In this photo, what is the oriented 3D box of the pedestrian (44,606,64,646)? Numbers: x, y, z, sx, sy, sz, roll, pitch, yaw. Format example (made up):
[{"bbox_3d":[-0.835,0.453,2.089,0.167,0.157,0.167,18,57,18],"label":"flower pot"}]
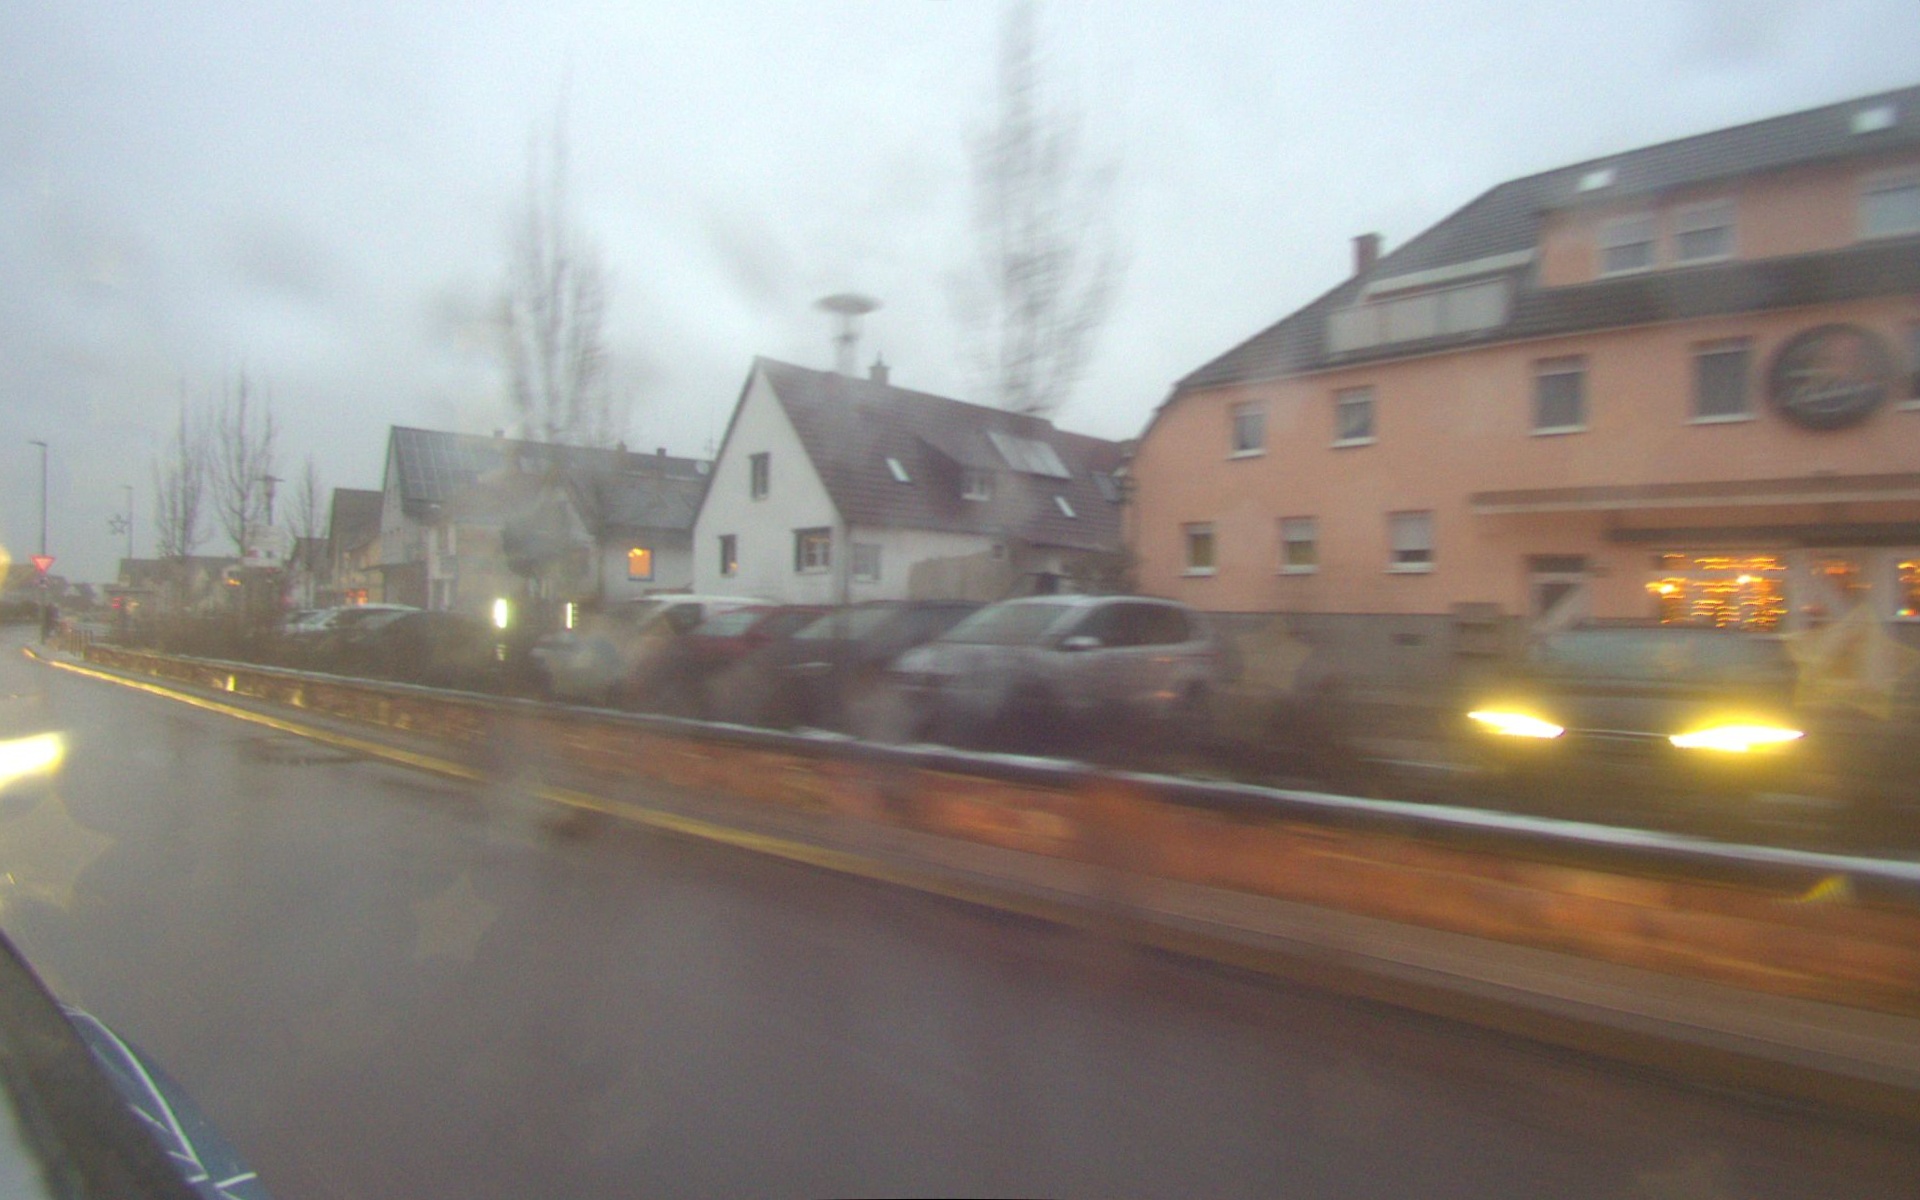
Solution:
[{"bbox_3d":[-46.234,1.312,51.642,0.547,2.047,0.657,-2,-2,39],"label":"pedestrian"}]

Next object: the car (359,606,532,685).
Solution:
[{"bbox_3d":[-13.875,1.276,27.431,1.749,1.966,3.755,-2,-5,41],"label":"car"}]

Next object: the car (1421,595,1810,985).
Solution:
[{"bbox_3d":[4.843,1.093,7.226,1.749,1.966,3.986,-2,-5,41],"label":"car"}]

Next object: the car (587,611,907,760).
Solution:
[{"bbox_3d":[-2.996,1.155,15.069,1.867,1.881,4.455,-2,-3,41],"label":"car"}]

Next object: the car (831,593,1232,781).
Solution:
[{"bbox_3d":[1.025,0.890,11.616,2.000,1.697,4.811,-3,-4,43],"label":"car"}]

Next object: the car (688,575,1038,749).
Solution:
[{"bbox_3d":[-1.093,0.748,13.310,1.999,1.881,4.455,-2,-3,41],"label":"car"}]

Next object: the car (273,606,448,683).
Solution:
[{"bbox_3d":[-16.561,1.277,28.094,1.749,1.966,3.755,-2,-5,41],"label":"car"}]

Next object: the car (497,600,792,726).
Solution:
[{"bbox_3d":[-5.100,0.990,16.844,1.844,1.815,4.367,-2,-3,41],"label":"car"}]

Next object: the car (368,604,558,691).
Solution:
[{"bbox_3d":[-12.080,1.198,24.765,1.749,1.966,3.755,-2,-5,41],"label":"car"}]

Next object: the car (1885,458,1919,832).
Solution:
[{"bbox_3d":[6.275,0.251,5.289,1.999,1.697,3.945,-2,-3,41],"label":"car"}]

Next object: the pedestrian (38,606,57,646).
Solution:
[{"bbox_3d":[-45.898,1.296,50.898,0.604,2.029,0.665,-1,-1,41],"label":"pedestrian"}]
